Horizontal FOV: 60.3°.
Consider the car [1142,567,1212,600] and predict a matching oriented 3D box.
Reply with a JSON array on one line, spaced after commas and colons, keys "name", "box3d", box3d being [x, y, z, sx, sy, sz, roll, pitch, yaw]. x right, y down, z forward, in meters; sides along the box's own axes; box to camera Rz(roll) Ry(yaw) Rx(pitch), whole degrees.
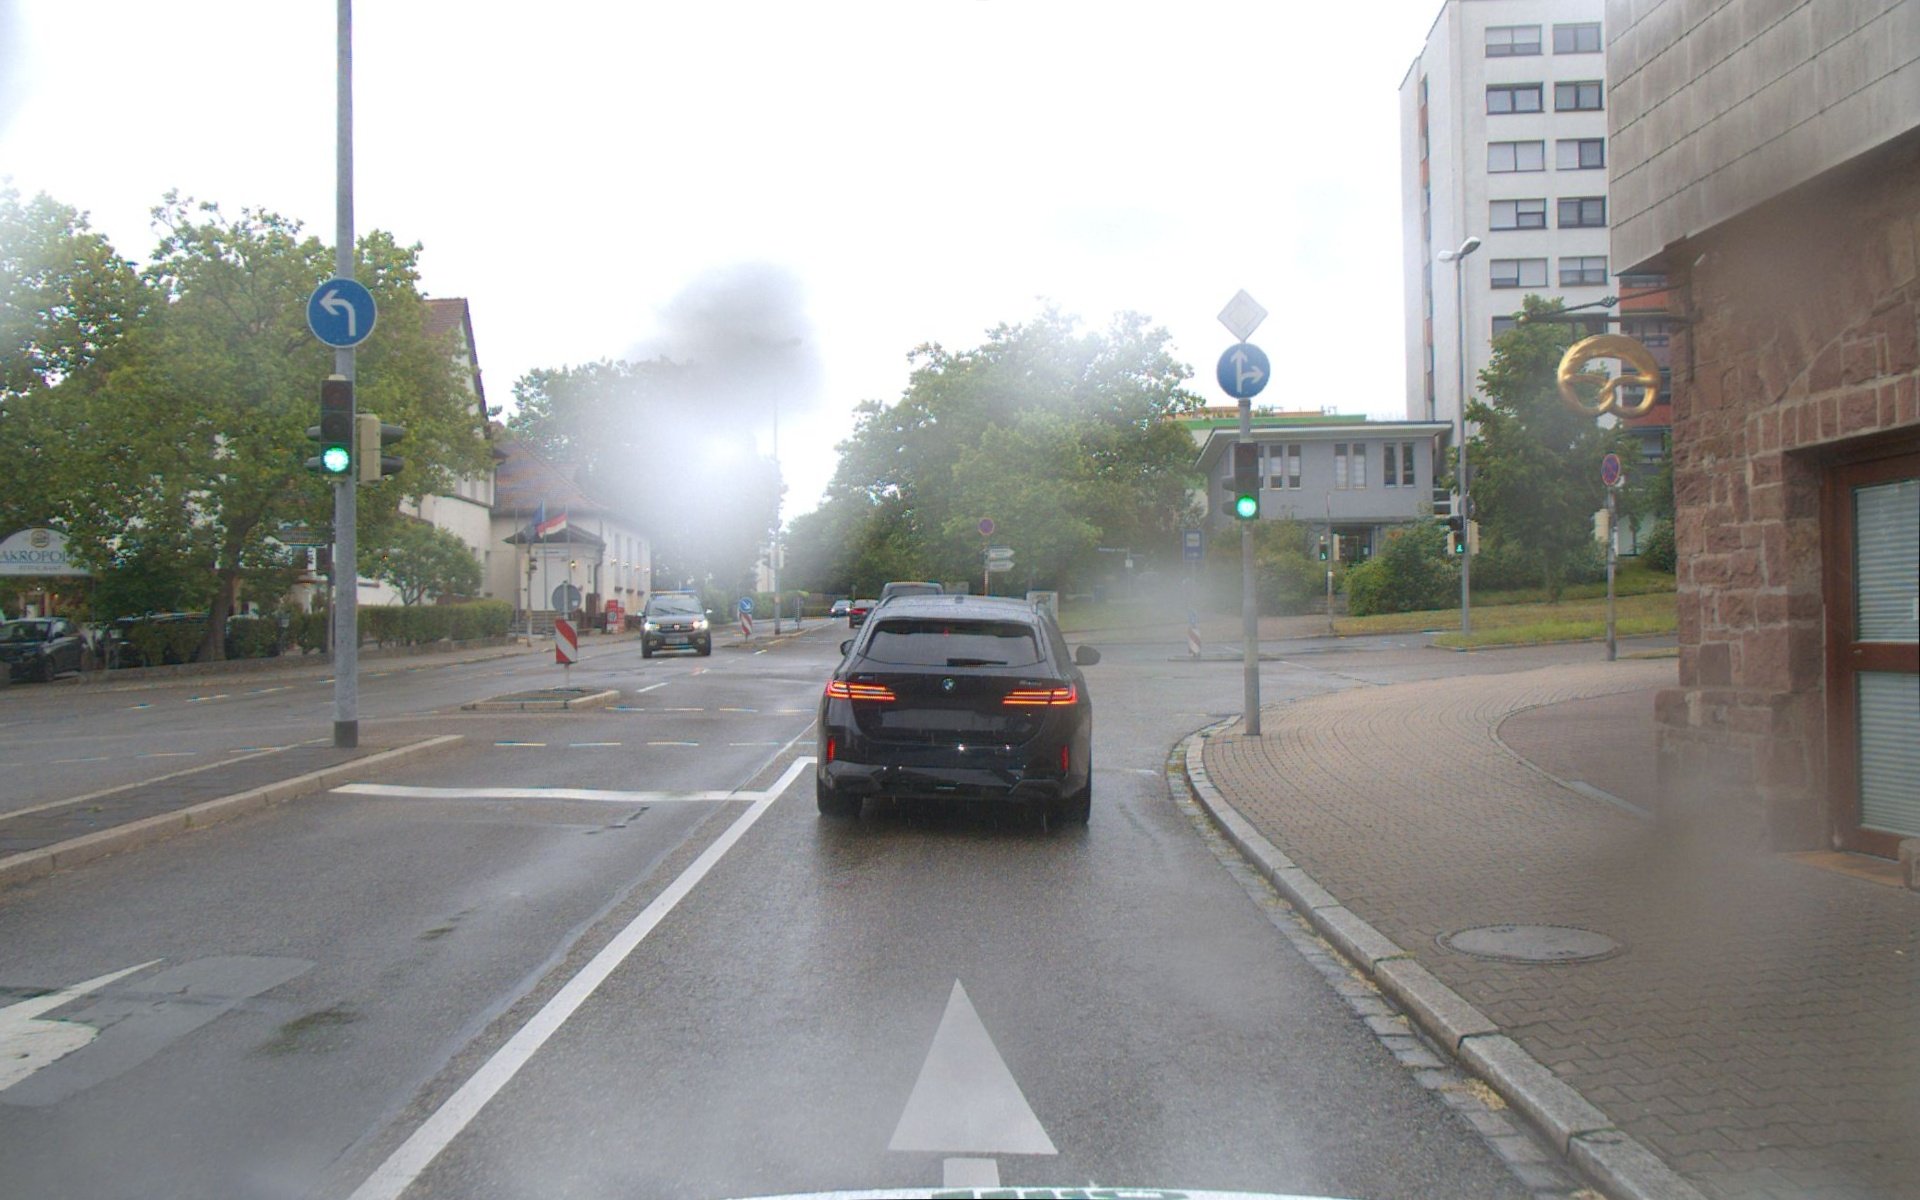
[{"name": "car", "box3d": [12.366, -0.935, 94.419, 3.902, 1.847, 2.001, 1, -1, 7]}]

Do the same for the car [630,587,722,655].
[{"name": "car", "box3d": [-7.303, 0.489, 42.977, 1.861, 1.605, 4.499, -1, 1, -4]}]

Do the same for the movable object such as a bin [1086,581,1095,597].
[{"name": "movable object such as a bin", "box3d": [7.730, -0.656, 97.887, 0.440, 0.921, 0.463, 1, -1, 15]}]

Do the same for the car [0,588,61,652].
[{"name": "car", "box3d": [-32.003, 0.647, 55.243, 1.954, 2.049, 3.996, 1, 0, -5]}]

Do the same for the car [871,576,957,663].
[{"name": "car", "box3d": [-1.074, 0.429, 37.276, 1.776, 1.840, 3.753, 1, 0, -4]}]

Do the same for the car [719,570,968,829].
[{"name": "car", "box3d": [-0.818, 0.623, 11.859, 1.494, 1.561, 3.529, 1, 0, -4]}]

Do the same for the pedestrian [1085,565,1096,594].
[{"name": "pedestrian", "box3d": [7.986, -1.261, 101.506, 0.546, 1.794, 0.727, 1, -1, -5]}]

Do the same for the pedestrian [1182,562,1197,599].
[{"name": "pedestrian", "box3d": [10.089, -0.853, 72.683, 0.588, 1.645, 0.526, 1, -1, 6]}]

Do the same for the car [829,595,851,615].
[{"name": "car", "box3d": [-10.224, 0.433, 141.290, 1.757, 1.554, 4.207, -1, 1, -3]}]

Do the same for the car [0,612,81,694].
[{"name": "car", "box3d": [-22.841, 1.233, 39.405, 1.772, 1.578, 4.000, 1, 3, -3]}]
